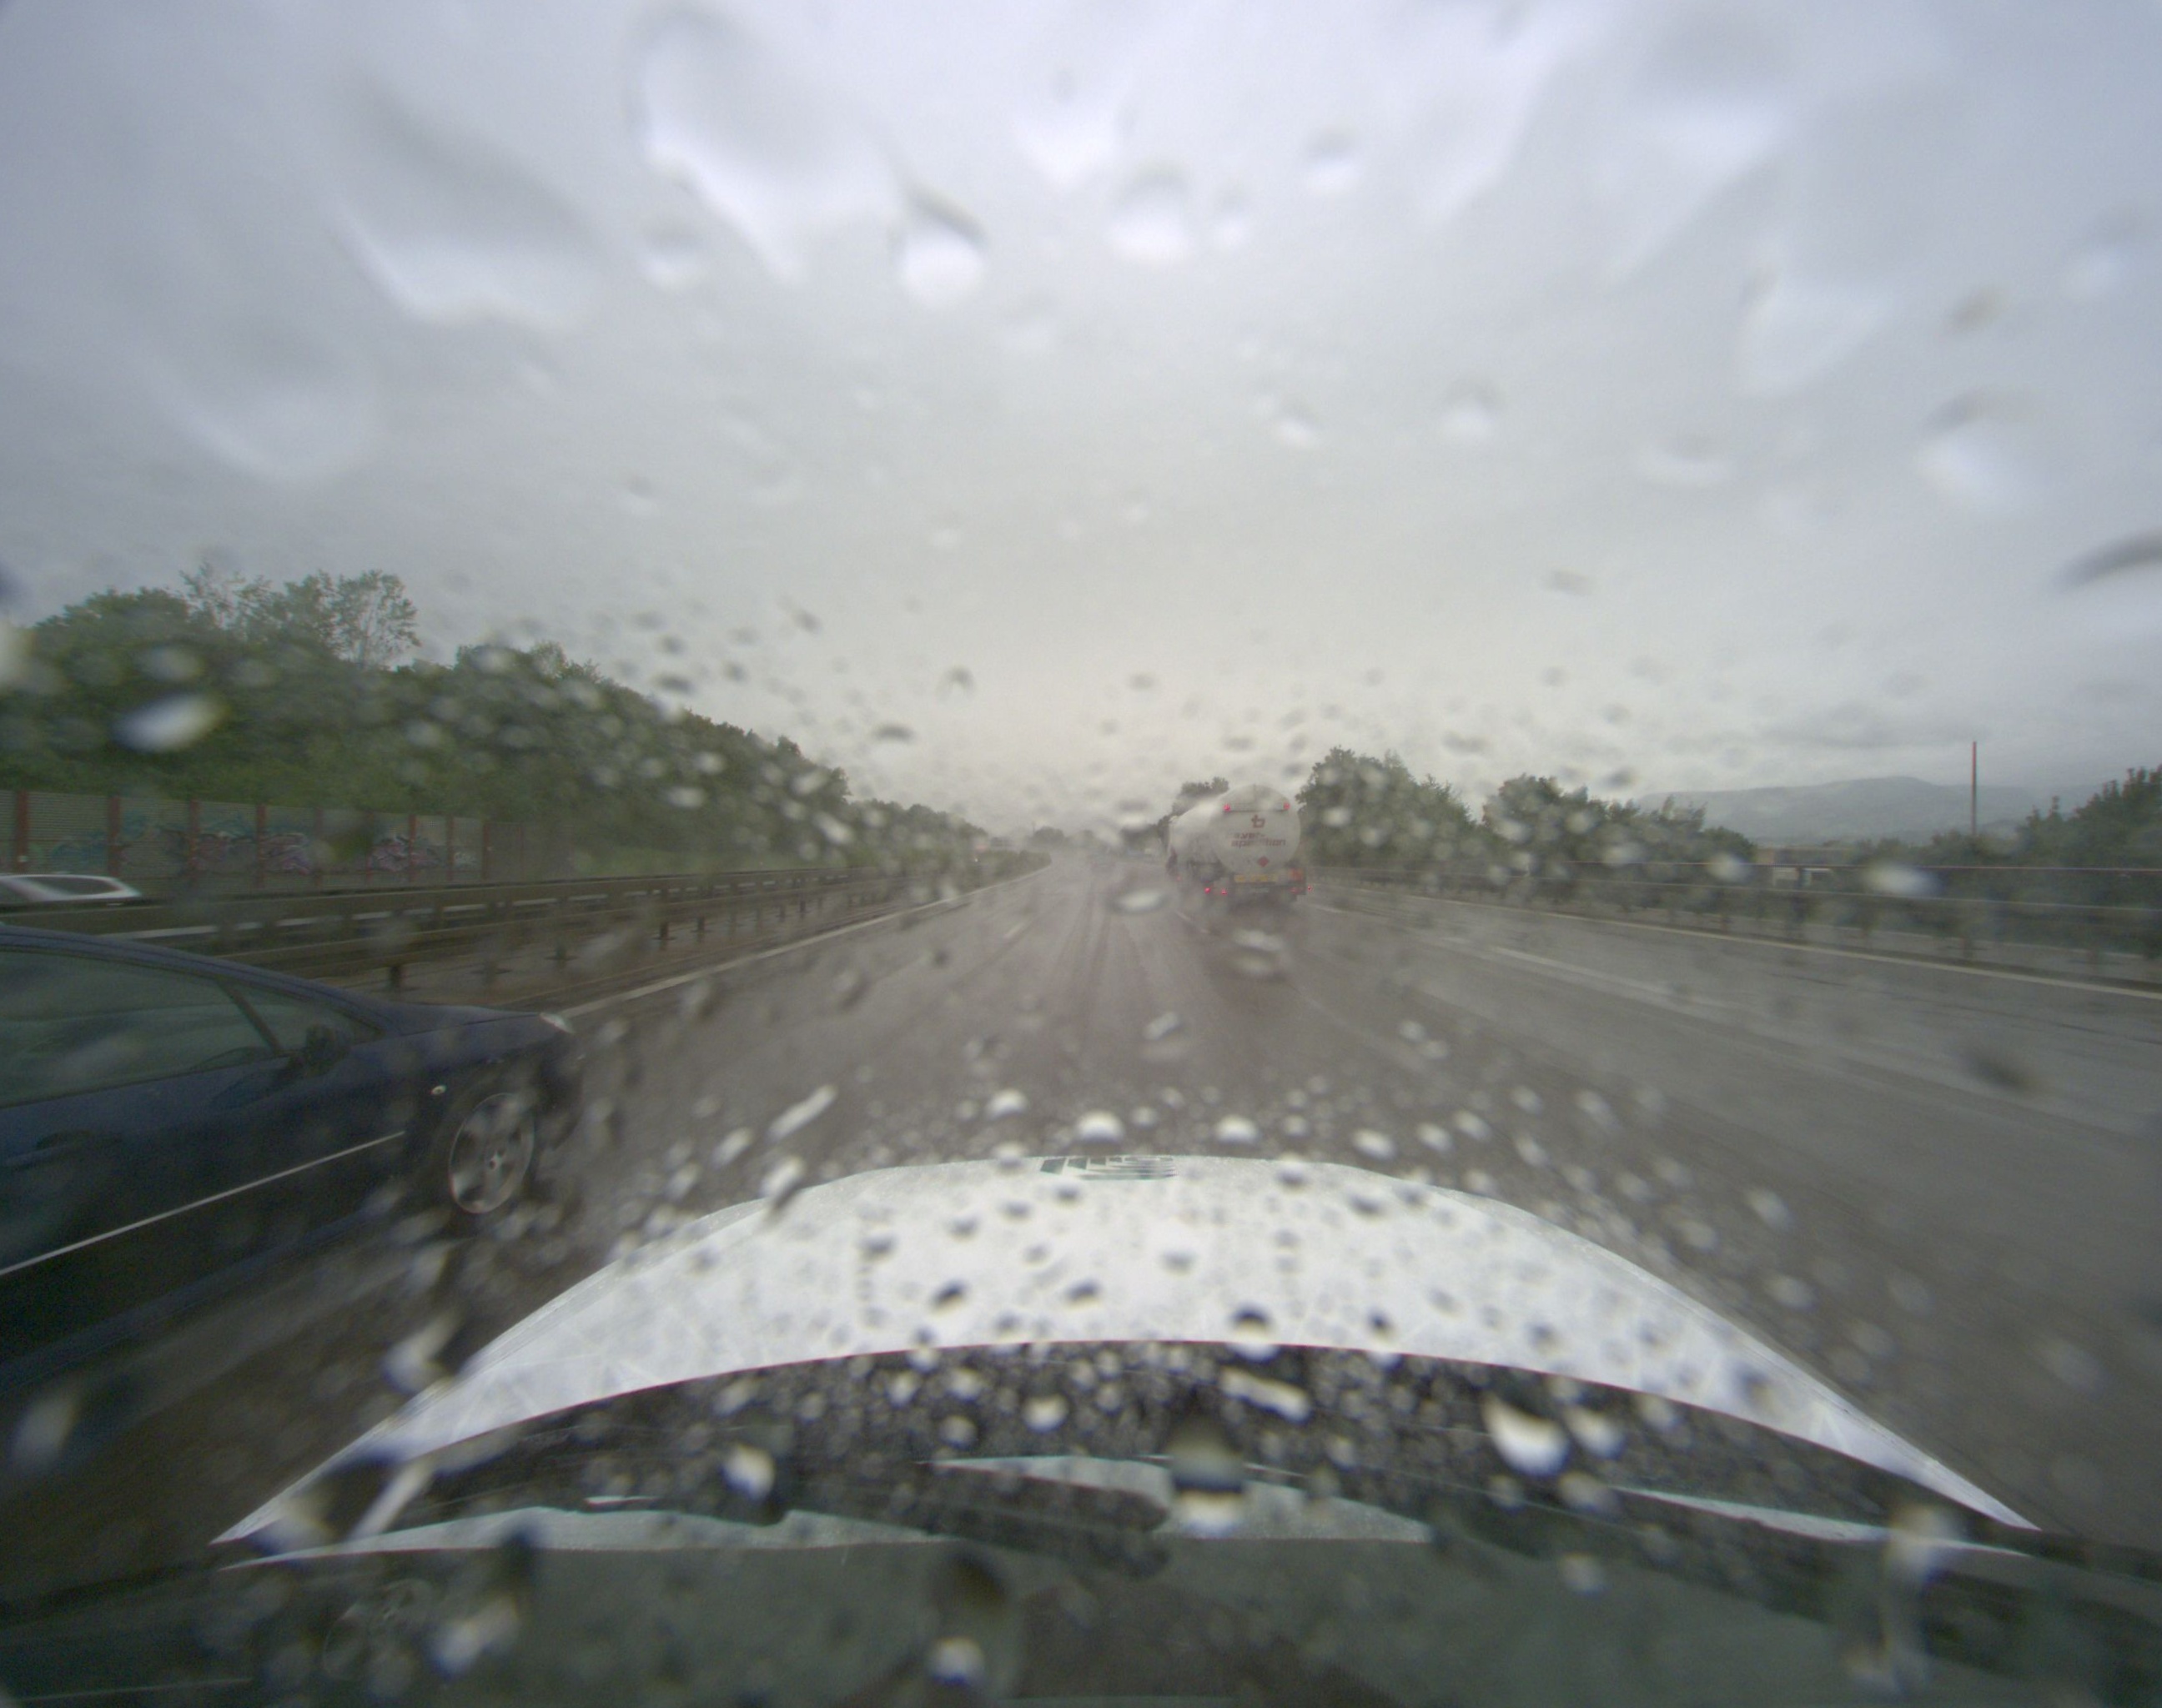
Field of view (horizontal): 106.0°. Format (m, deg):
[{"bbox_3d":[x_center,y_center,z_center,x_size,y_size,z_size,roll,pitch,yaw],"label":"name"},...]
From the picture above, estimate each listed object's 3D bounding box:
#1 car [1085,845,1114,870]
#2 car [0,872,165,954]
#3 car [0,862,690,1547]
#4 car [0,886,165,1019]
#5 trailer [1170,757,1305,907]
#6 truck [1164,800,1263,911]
[{"bbox_3d":[1.353,0.216,60.324,1.972,1.756,4.480,-1,1,-1],"label":"car"},{"bbox_3d":[-20.920,1.122,15.392,1.979,1.471,4.722,-1,0,-2],"label":"car"},{"bbox_3d":[-3.421,0.808,2.154,2.046,1.485,5.162,0,0,3],"label":"car"},{"bbox_3d":[-13.470,1.177,8.737,1.978,1.471,4.724,-1,0,-1],"label":"car"},{"bbox_3d":[4.558,-0.570,25.635,2.992,3.848,8.631,-1,0,3],"label":"trailer"},{"bbox_3d":[4.836,0.061,30.944,2.932,3.684,6.366,-2,0,3],"label":"truck"}]
